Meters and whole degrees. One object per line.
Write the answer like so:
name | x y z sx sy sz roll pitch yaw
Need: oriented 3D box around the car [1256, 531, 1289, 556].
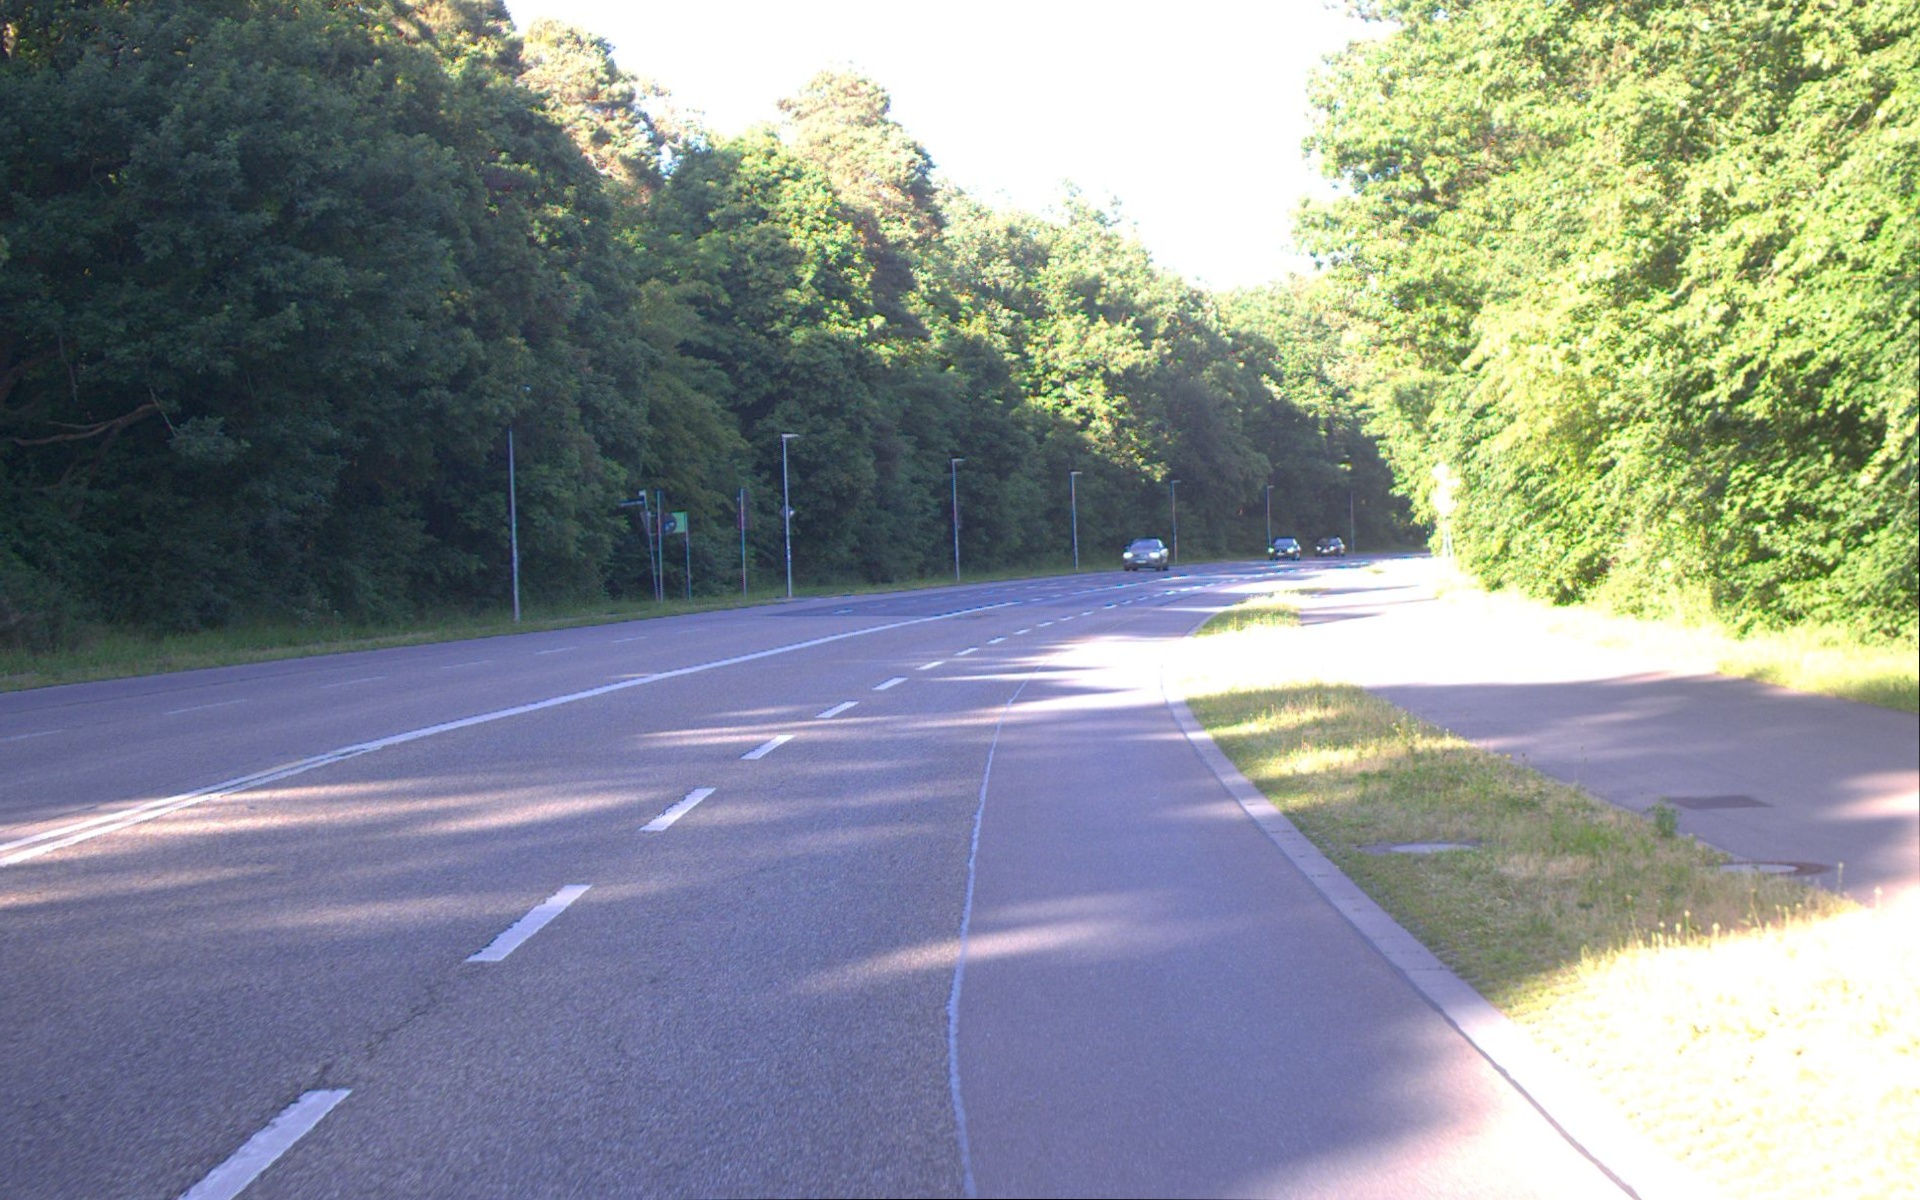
car | 20.984 -3.779 230.813 1.994 1.579 3.999 -1 0 8

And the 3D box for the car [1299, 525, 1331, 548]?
car | 26.030 -4.629 251.957 1.994 1.579 3.998 -1 0 10

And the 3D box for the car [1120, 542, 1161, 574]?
car | 9.108 -2.110 173.382 1.993 1.579 4.000 0 0 2
